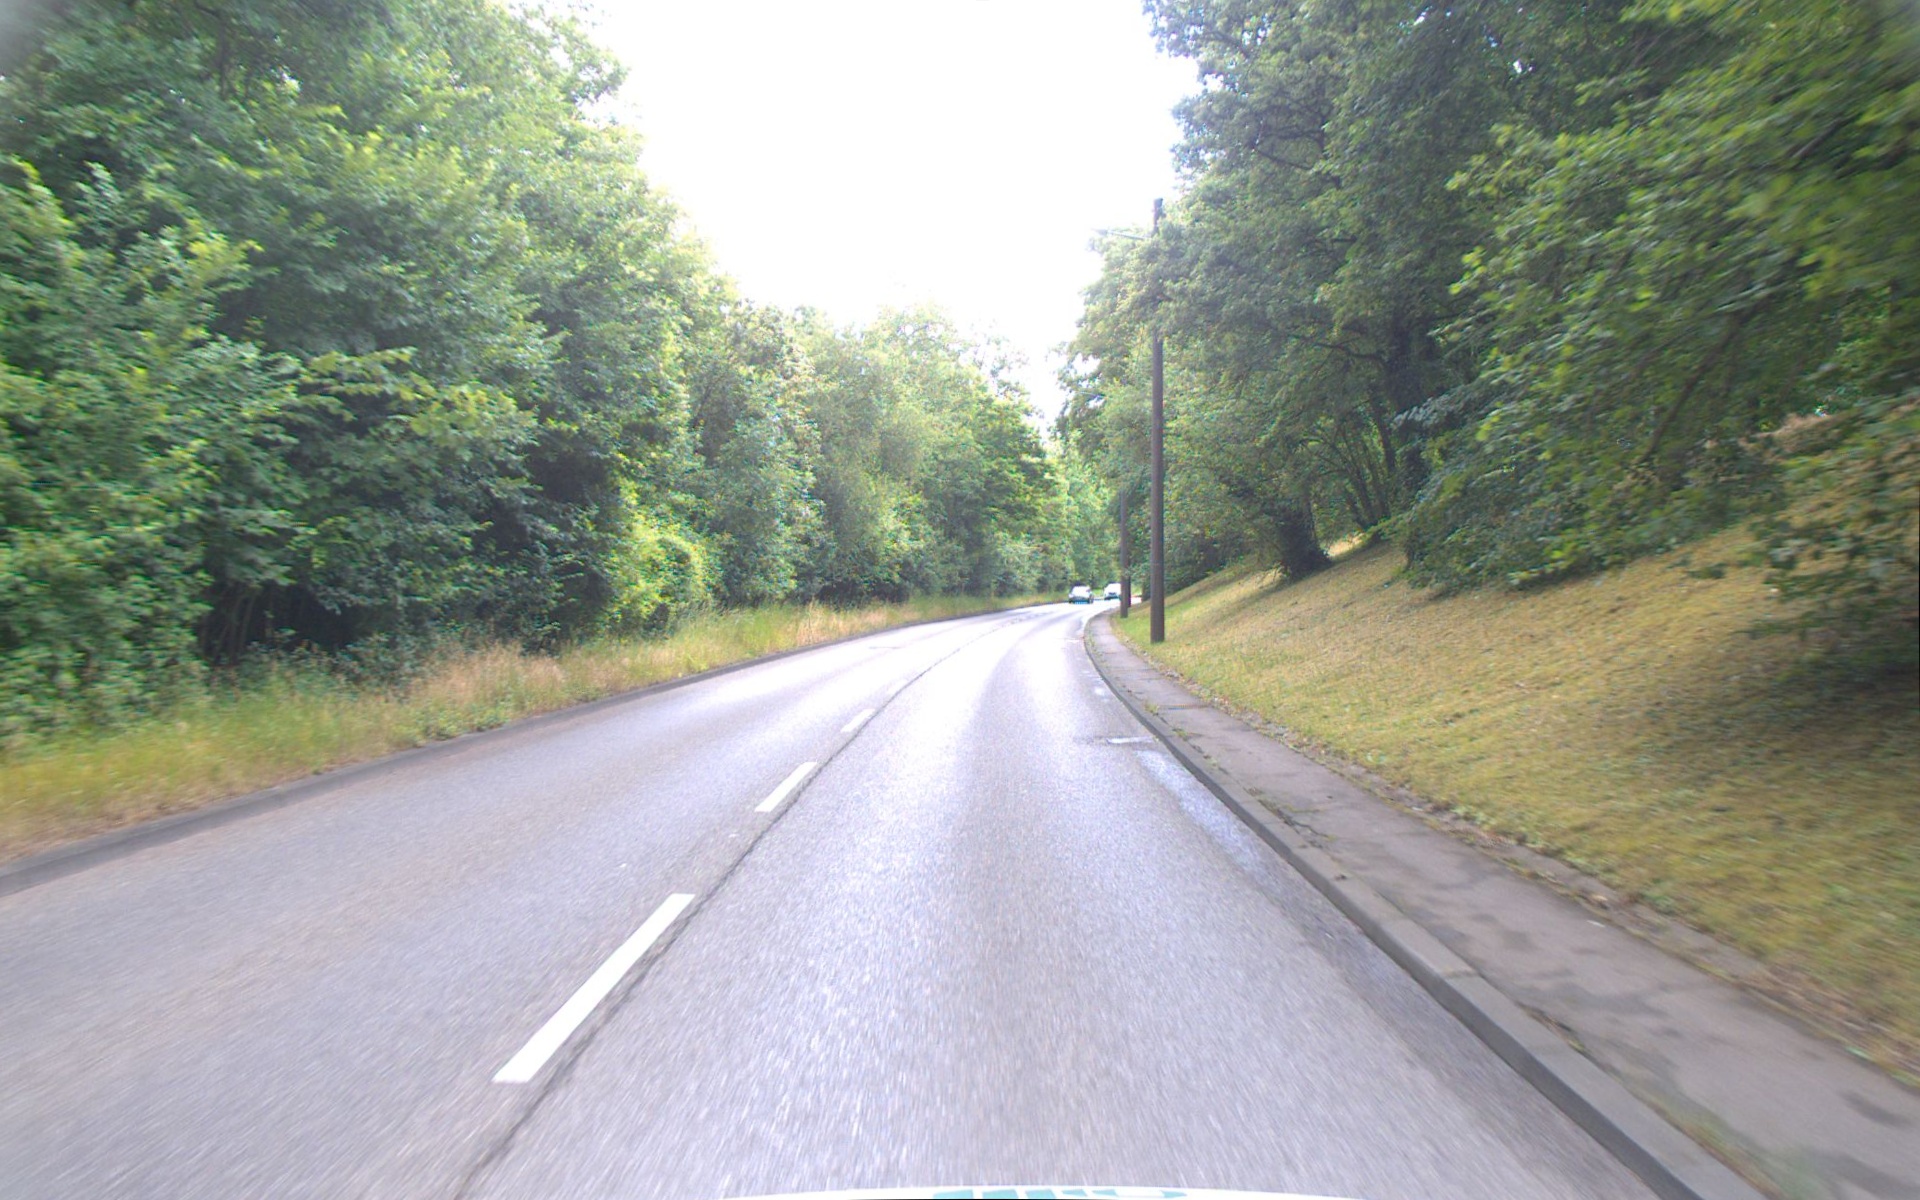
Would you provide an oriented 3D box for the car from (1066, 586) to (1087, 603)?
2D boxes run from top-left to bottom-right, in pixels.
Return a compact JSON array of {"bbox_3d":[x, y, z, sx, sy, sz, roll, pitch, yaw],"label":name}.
[{"bbox_3d":[10.000,-0.448,142.183,1.772,1.445,4.002,0,0,4],"label":"car"}]

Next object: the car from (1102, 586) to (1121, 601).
[{"bbox_3d":[15.761,-0.666,172.333,1.901,1.609,4.443,0,0,4],"label":"car"}]
